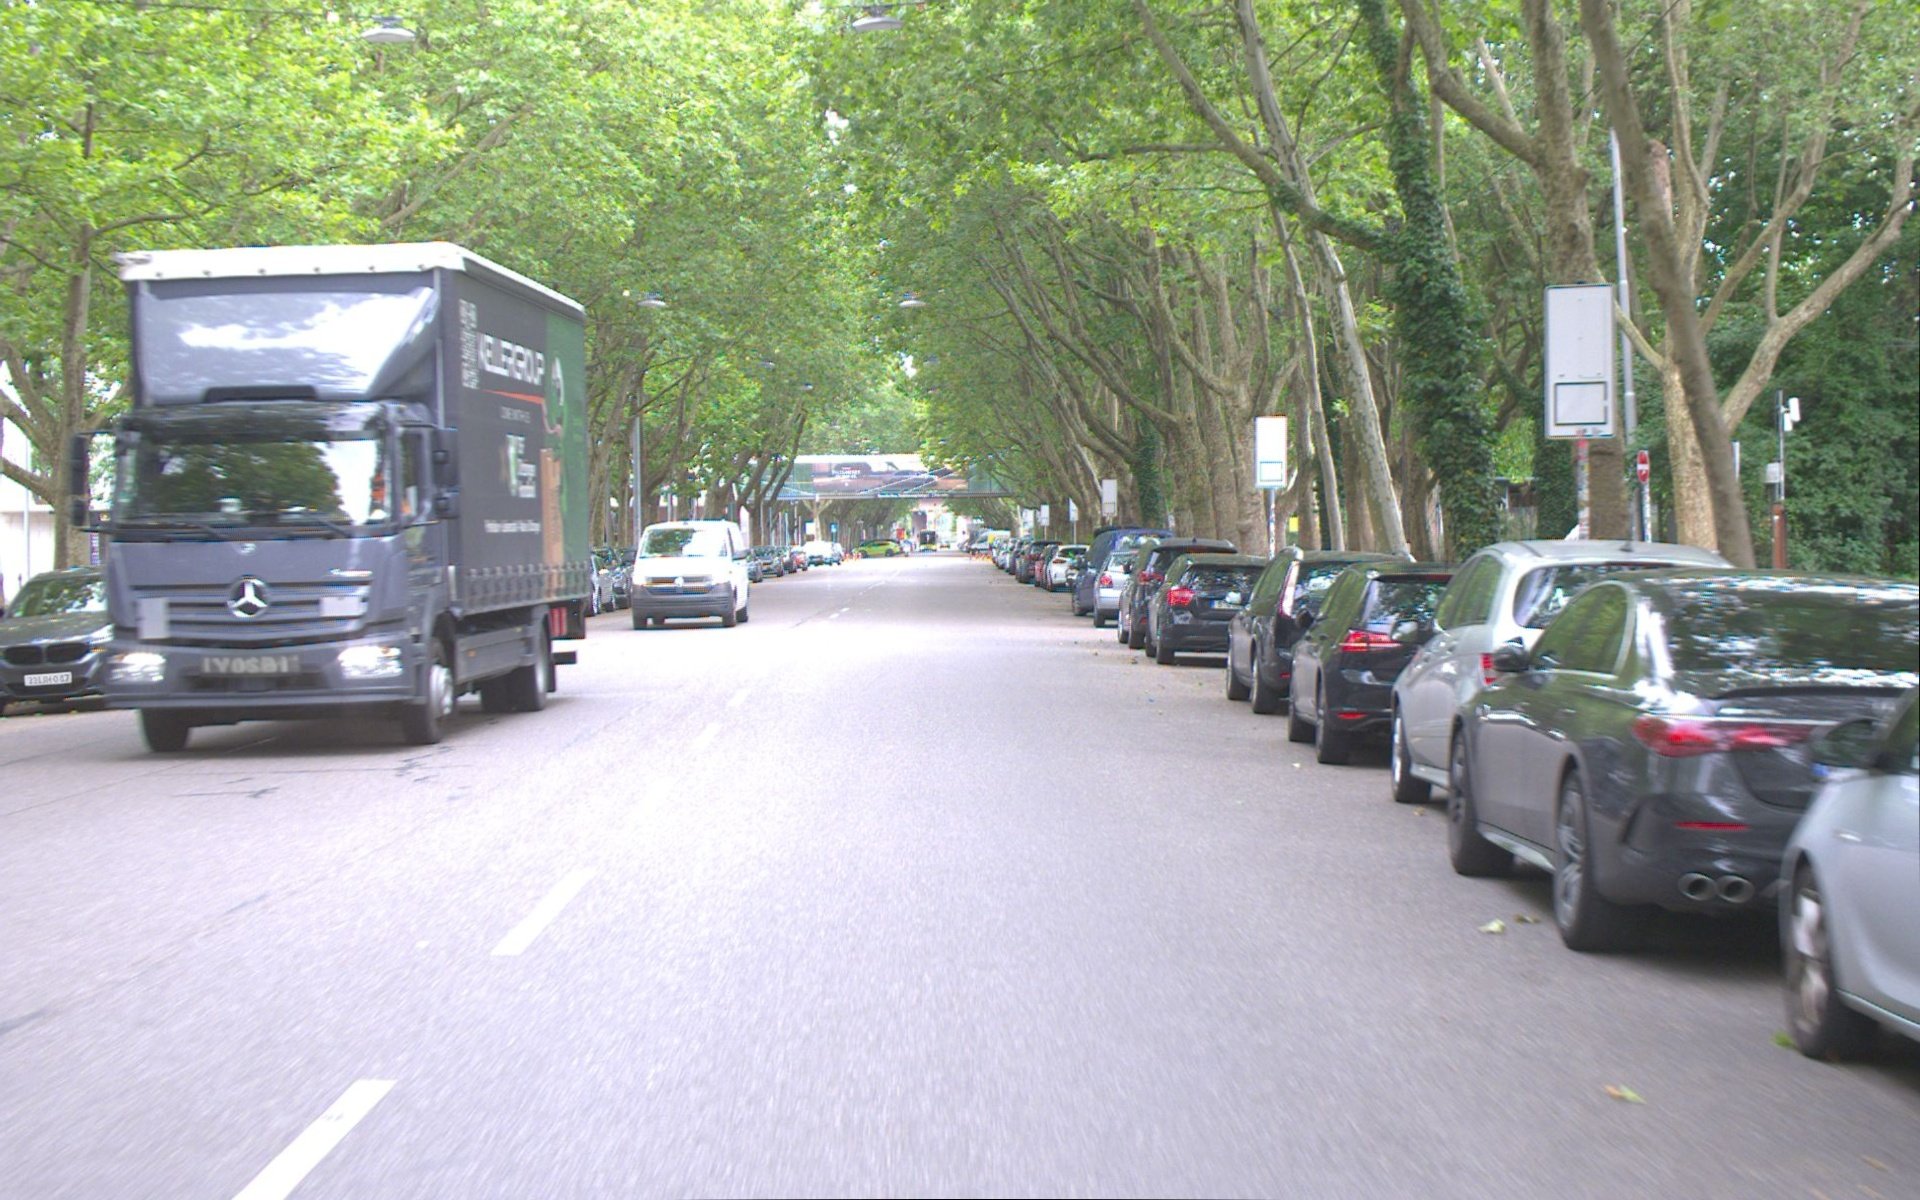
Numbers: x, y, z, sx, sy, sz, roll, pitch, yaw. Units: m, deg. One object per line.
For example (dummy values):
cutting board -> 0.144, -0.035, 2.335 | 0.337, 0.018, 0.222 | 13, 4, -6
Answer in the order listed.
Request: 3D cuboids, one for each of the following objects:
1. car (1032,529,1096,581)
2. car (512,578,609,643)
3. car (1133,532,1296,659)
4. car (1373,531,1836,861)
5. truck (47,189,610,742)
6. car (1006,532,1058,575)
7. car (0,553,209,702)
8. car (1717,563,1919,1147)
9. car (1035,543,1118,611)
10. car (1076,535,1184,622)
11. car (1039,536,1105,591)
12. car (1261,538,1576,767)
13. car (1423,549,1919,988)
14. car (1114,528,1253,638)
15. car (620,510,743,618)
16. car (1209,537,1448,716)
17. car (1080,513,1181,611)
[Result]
car -> 3.190, -1.395, 105.899 | 1.756, 1.529, 3.929 | -2, 1, 0
car -> -9.339, 0.254, 80.542 | 1.895, 1.433, 4.000 | -2, 0, -2
car -> 3.260, -0.085, 44.661 | 1.756, 1.529, 3.929 | 2, 1, -1
car -> 3.451, 0.448, 19.128 | 1.756, 1.591, 3.929 | 2, 1, -1
truck -> -5.024, -1.040, 29.454 | 2.641, 3.888, 9.540 | -2, 1, 2
car -> 2.666, -1.726, 127.664 | 1.756, 1.529, 3.929 | 2, 1, -1
car -> -9.265, 0.286, 36.388 | 1.765, 1.414, 3.761 | -3, 0, -1
car -> 3.347, 0.692, 9.552 | 1.675, 1.485, 3.686 | 3, 1, 1
car -> 2.745, -0.566, 81.545 | 1.756, 1.529, 3.929 | 2, 1, -1
car -> 3.159, -0.430, 64.557 | 1.756, 1.529, 3.929 | 2, 1, -1
car -> 3.260, -1.092, 100.638 | 1.756, 1.529, 3.929 | -2, 1, 0
car -> 3.342, 0.331, 25.728 | 1.756, 1.529, 3.929 | 2, 1, -1
car -> 3.162, 0.578, 14.316 | 1.756, 1.485, 4.417 | 3, 1, -1
car -> 3.255, -0.283, 50.658 | 1.756, 1.529, 3.929 | 0, 1, 0
car -> -5.125, -0.696, 63.692 | 1.980, 1.927, 4.113 | 0, 1, 0
car -> 3.418, 0.205, 32.522 | 1.756, 1.529, 3.929 | 2, 1, -1
car -> 3.521, -0.822, 71.570 | 1.756, 1.809, 3.929 | -5, 2, 0
